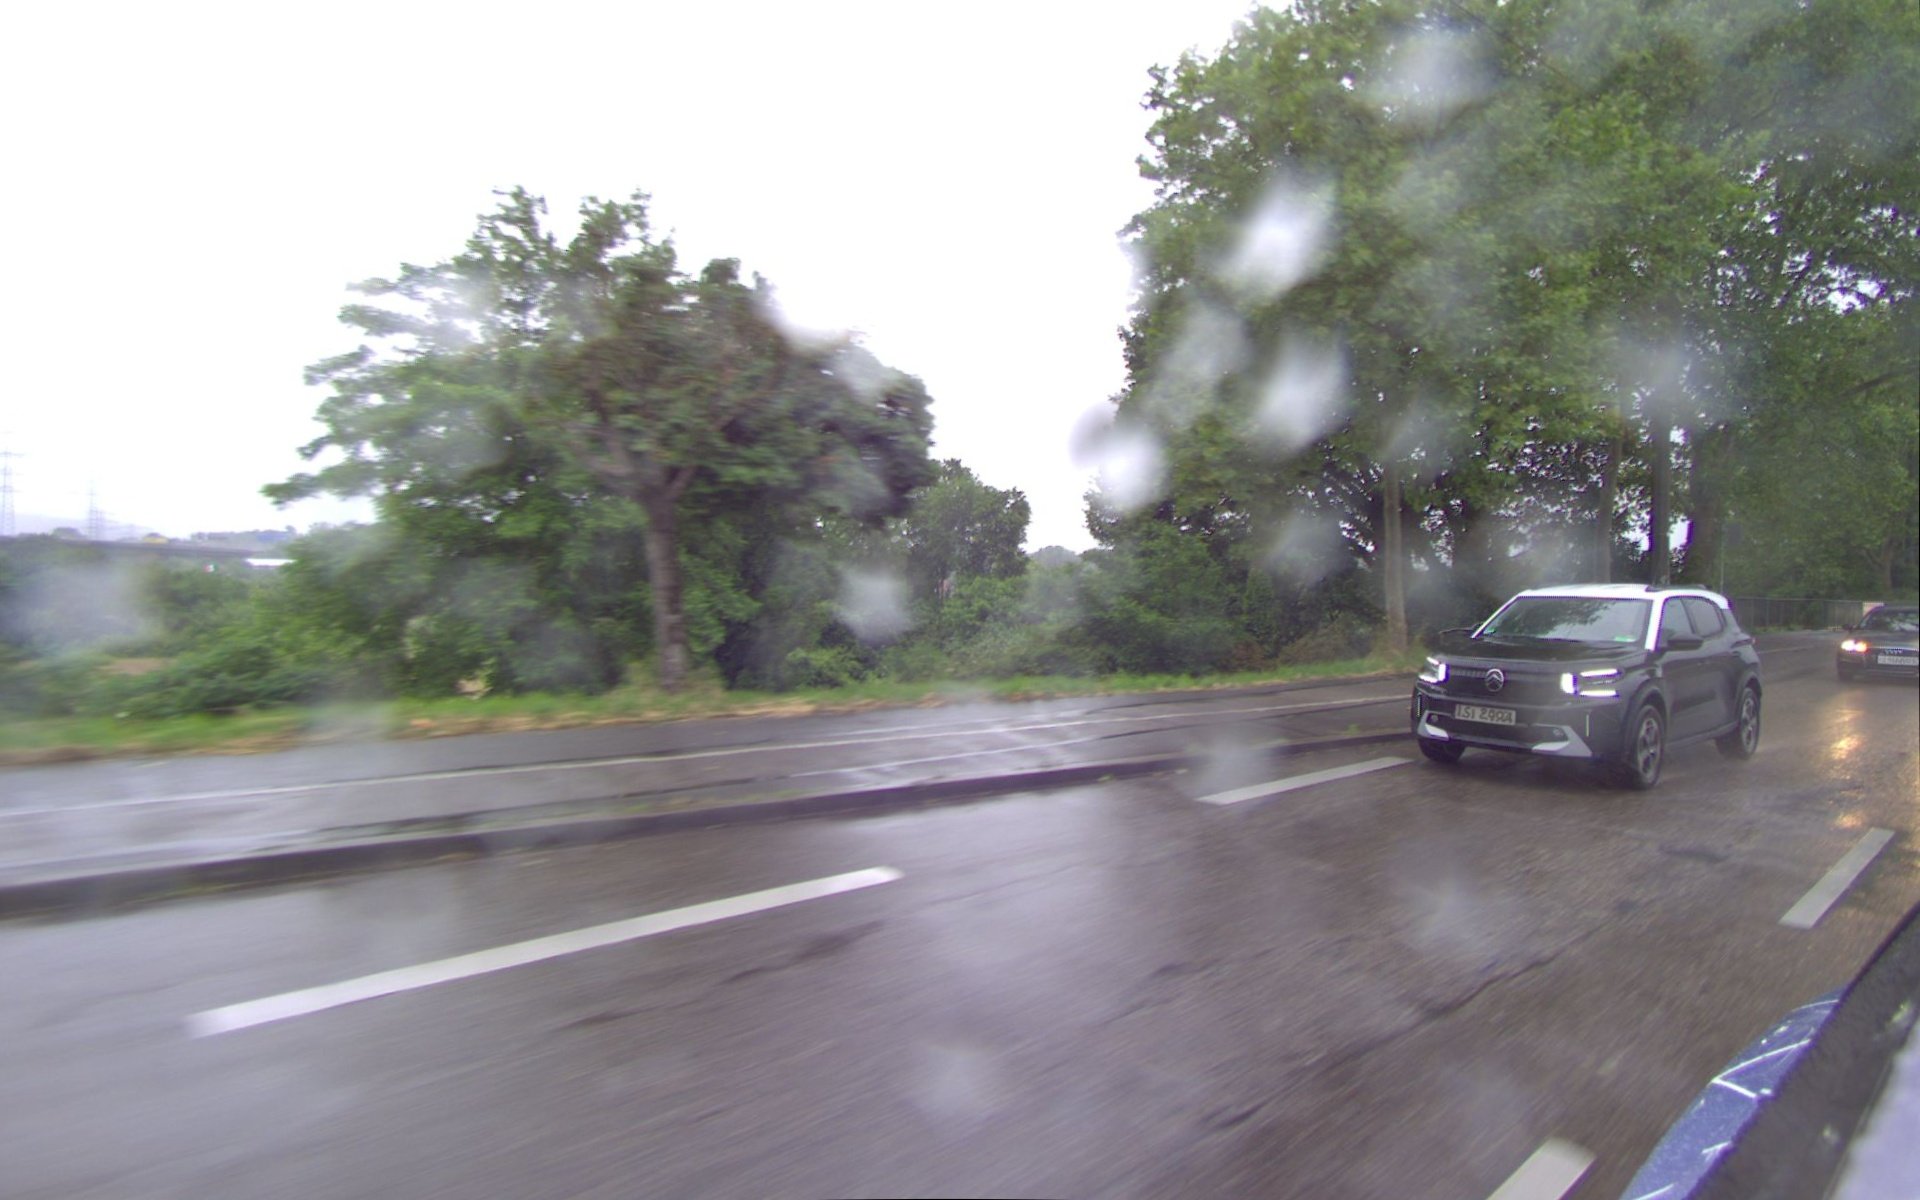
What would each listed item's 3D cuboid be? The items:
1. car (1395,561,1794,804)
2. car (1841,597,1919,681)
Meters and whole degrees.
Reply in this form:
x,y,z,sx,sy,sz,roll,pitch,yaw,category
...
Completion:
x,y,z,sx,sy,sz,roll,pitch,yaw,category
6.050,0.606,9.399,4.678,1.724,1.796,1,-1,-40,car
18.091,0.697,18.963,3.928,1.445,1.783,1,0,-40,car
